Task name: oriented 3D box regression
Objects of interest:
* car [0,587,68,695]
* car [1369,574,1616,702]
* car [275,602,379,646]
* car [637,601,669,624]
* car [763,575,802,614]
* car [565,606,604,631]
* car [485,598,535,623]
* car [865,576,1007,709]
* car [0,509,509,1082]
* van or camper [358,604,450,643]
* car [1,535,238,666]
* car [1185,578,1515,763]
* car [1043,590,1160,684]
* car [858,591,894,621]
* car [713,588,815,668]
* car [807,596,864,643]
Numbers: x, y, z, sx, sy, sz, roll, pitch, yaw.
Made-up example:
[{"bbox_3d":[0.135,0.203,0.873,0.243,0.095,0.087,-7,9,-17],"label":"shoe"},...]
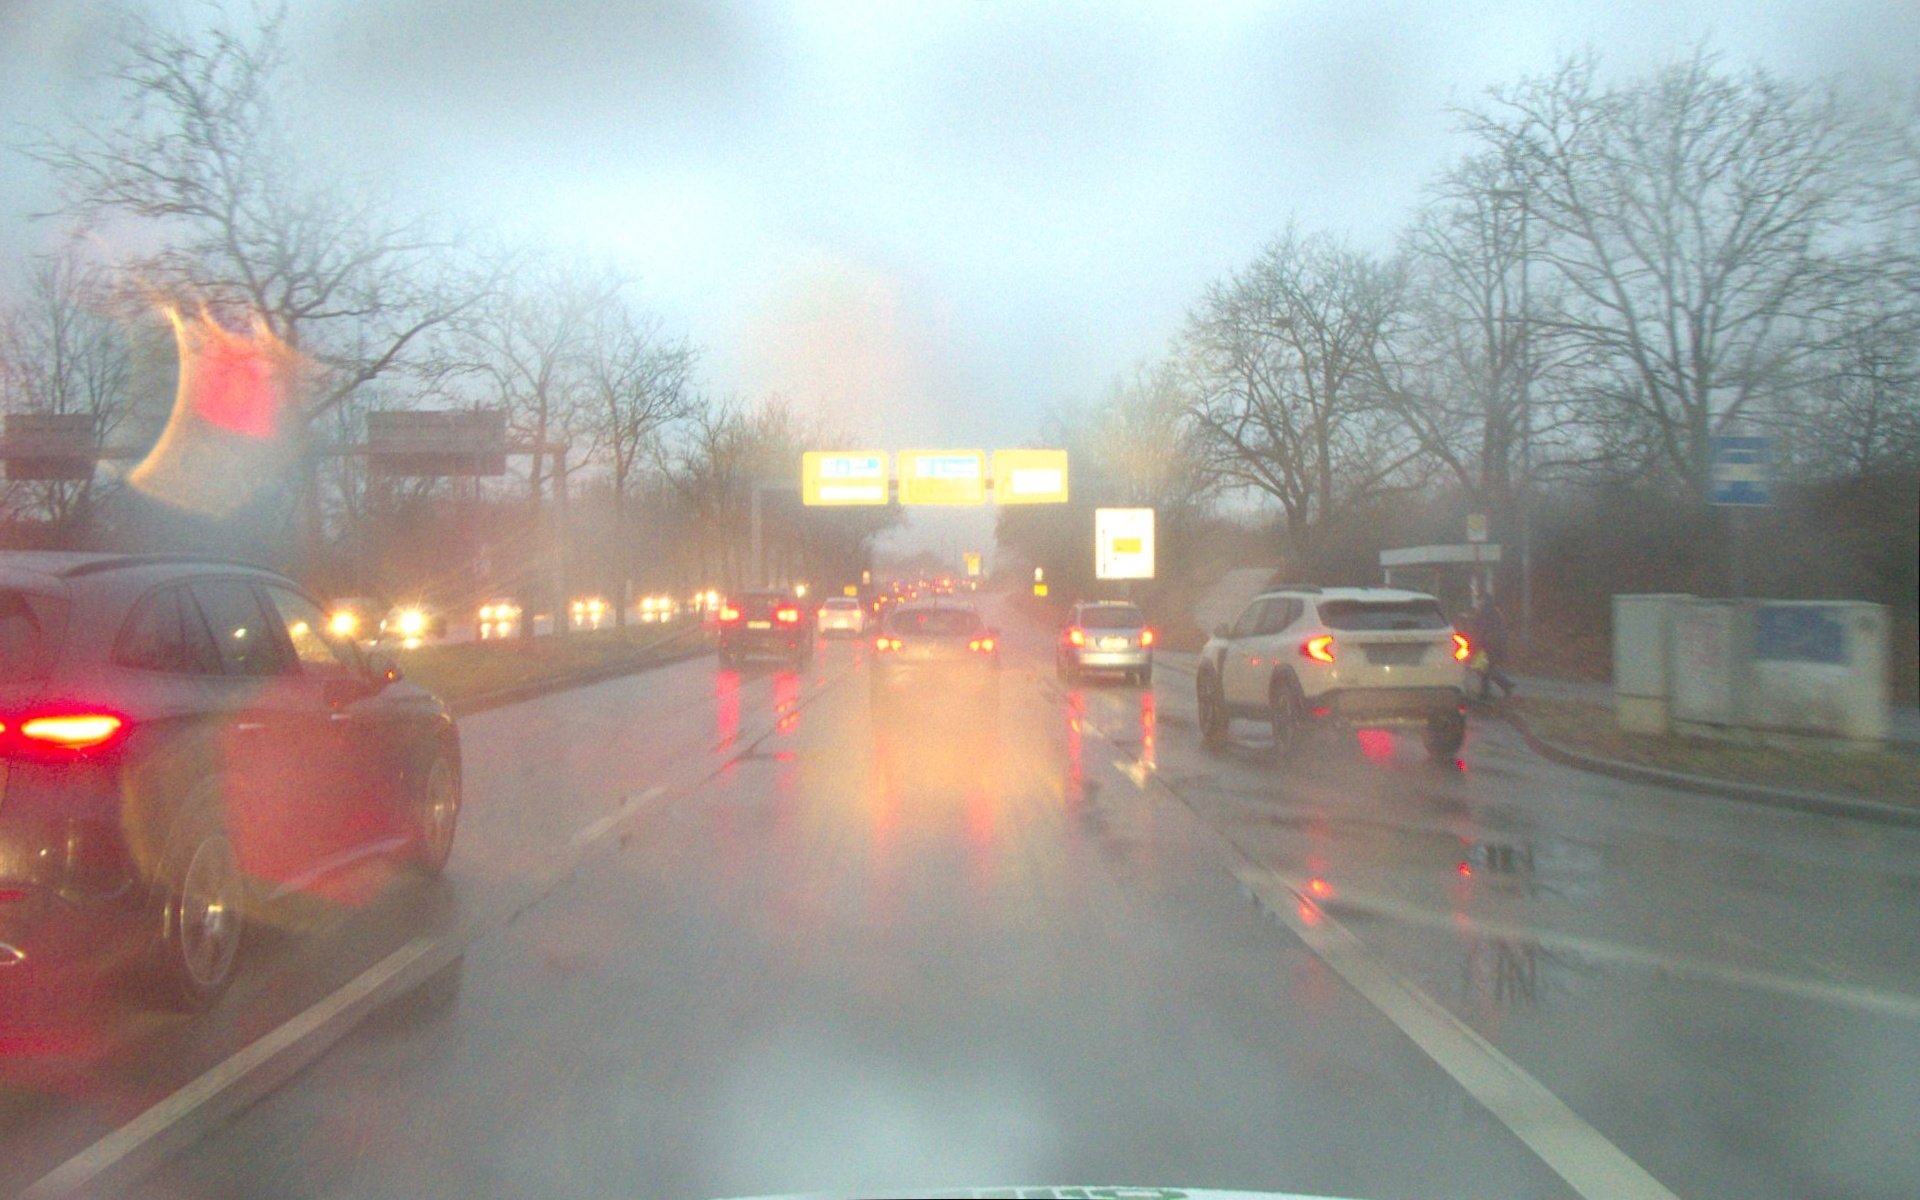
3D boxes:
[{"bbox_3d":[-14.749,0.614,23.380,1.734,1.563,4.839,-1,0,-1],"label":"car"},{"bbox_3d":[7.675,0.502,24.343,1.928,1.647,4.545,-2,0,-3],"label":"car"},{"bbox_3d":[-21.677,0.795,56.819,1.865,1.472,4.441,0,0,-1],"label":"car"},{"bbox_3d":[-22.349,0.879,120.656,1.749,1.655,3.573,0,0,-2],"label":"car"},{"bbox_3d":[-9.682,-0.254,90.527,1.702,2.049,3.999,1,-1,-1],"label":"car"},{"bbox_3d":[-28.977,1.393,127.863,1.952,1.883,4.427,0,0,1],"label":"car"},{"bbox_3d":[-27.790,0.650,102.209,1.952,1.503,4.072,0,0,1],"label":"car"},{"bbox_3d":[-0.308,0.546,23.355,1.785,1.677,4.466,-1,0,0],"label":"car"},{"bbox_3d":[-3.441,0.584,7.080,1.785,1.677,4.466,-1,0,0],"label":"car"},{"bbox_3d":[-21.561,0.880,64.363,1.865,1.472,5.157,0,0,-1],"label":"van or camper"},{"bbox_3d":[-21.476,0.050,42.773,2.244,3.057,7.347,1,-1,1],"label":"car"},{"bbox_3d":[3.842,0.637,17.155,1.782,1.646,4.401,-1,0,-9],"label":"car"},{"bbox_3d":[2.696,0.694,32.386,1.894,1.677,4.466,1,-1,0],"label":"car"},{"bbox_3d":[-3.956,0.282,78.601,1.474,1.362,4.000,-1,0,0],"label":"car"},{"bbox_3d":[-4.312,0.593,36.905,1.785,1.677,4.000,-1,0,0],"label":"car"},{"bbox_3d":[-4.581,0.706,61.261,1.785,1.677,4.000,-1,0,0],"label":"car"}]
